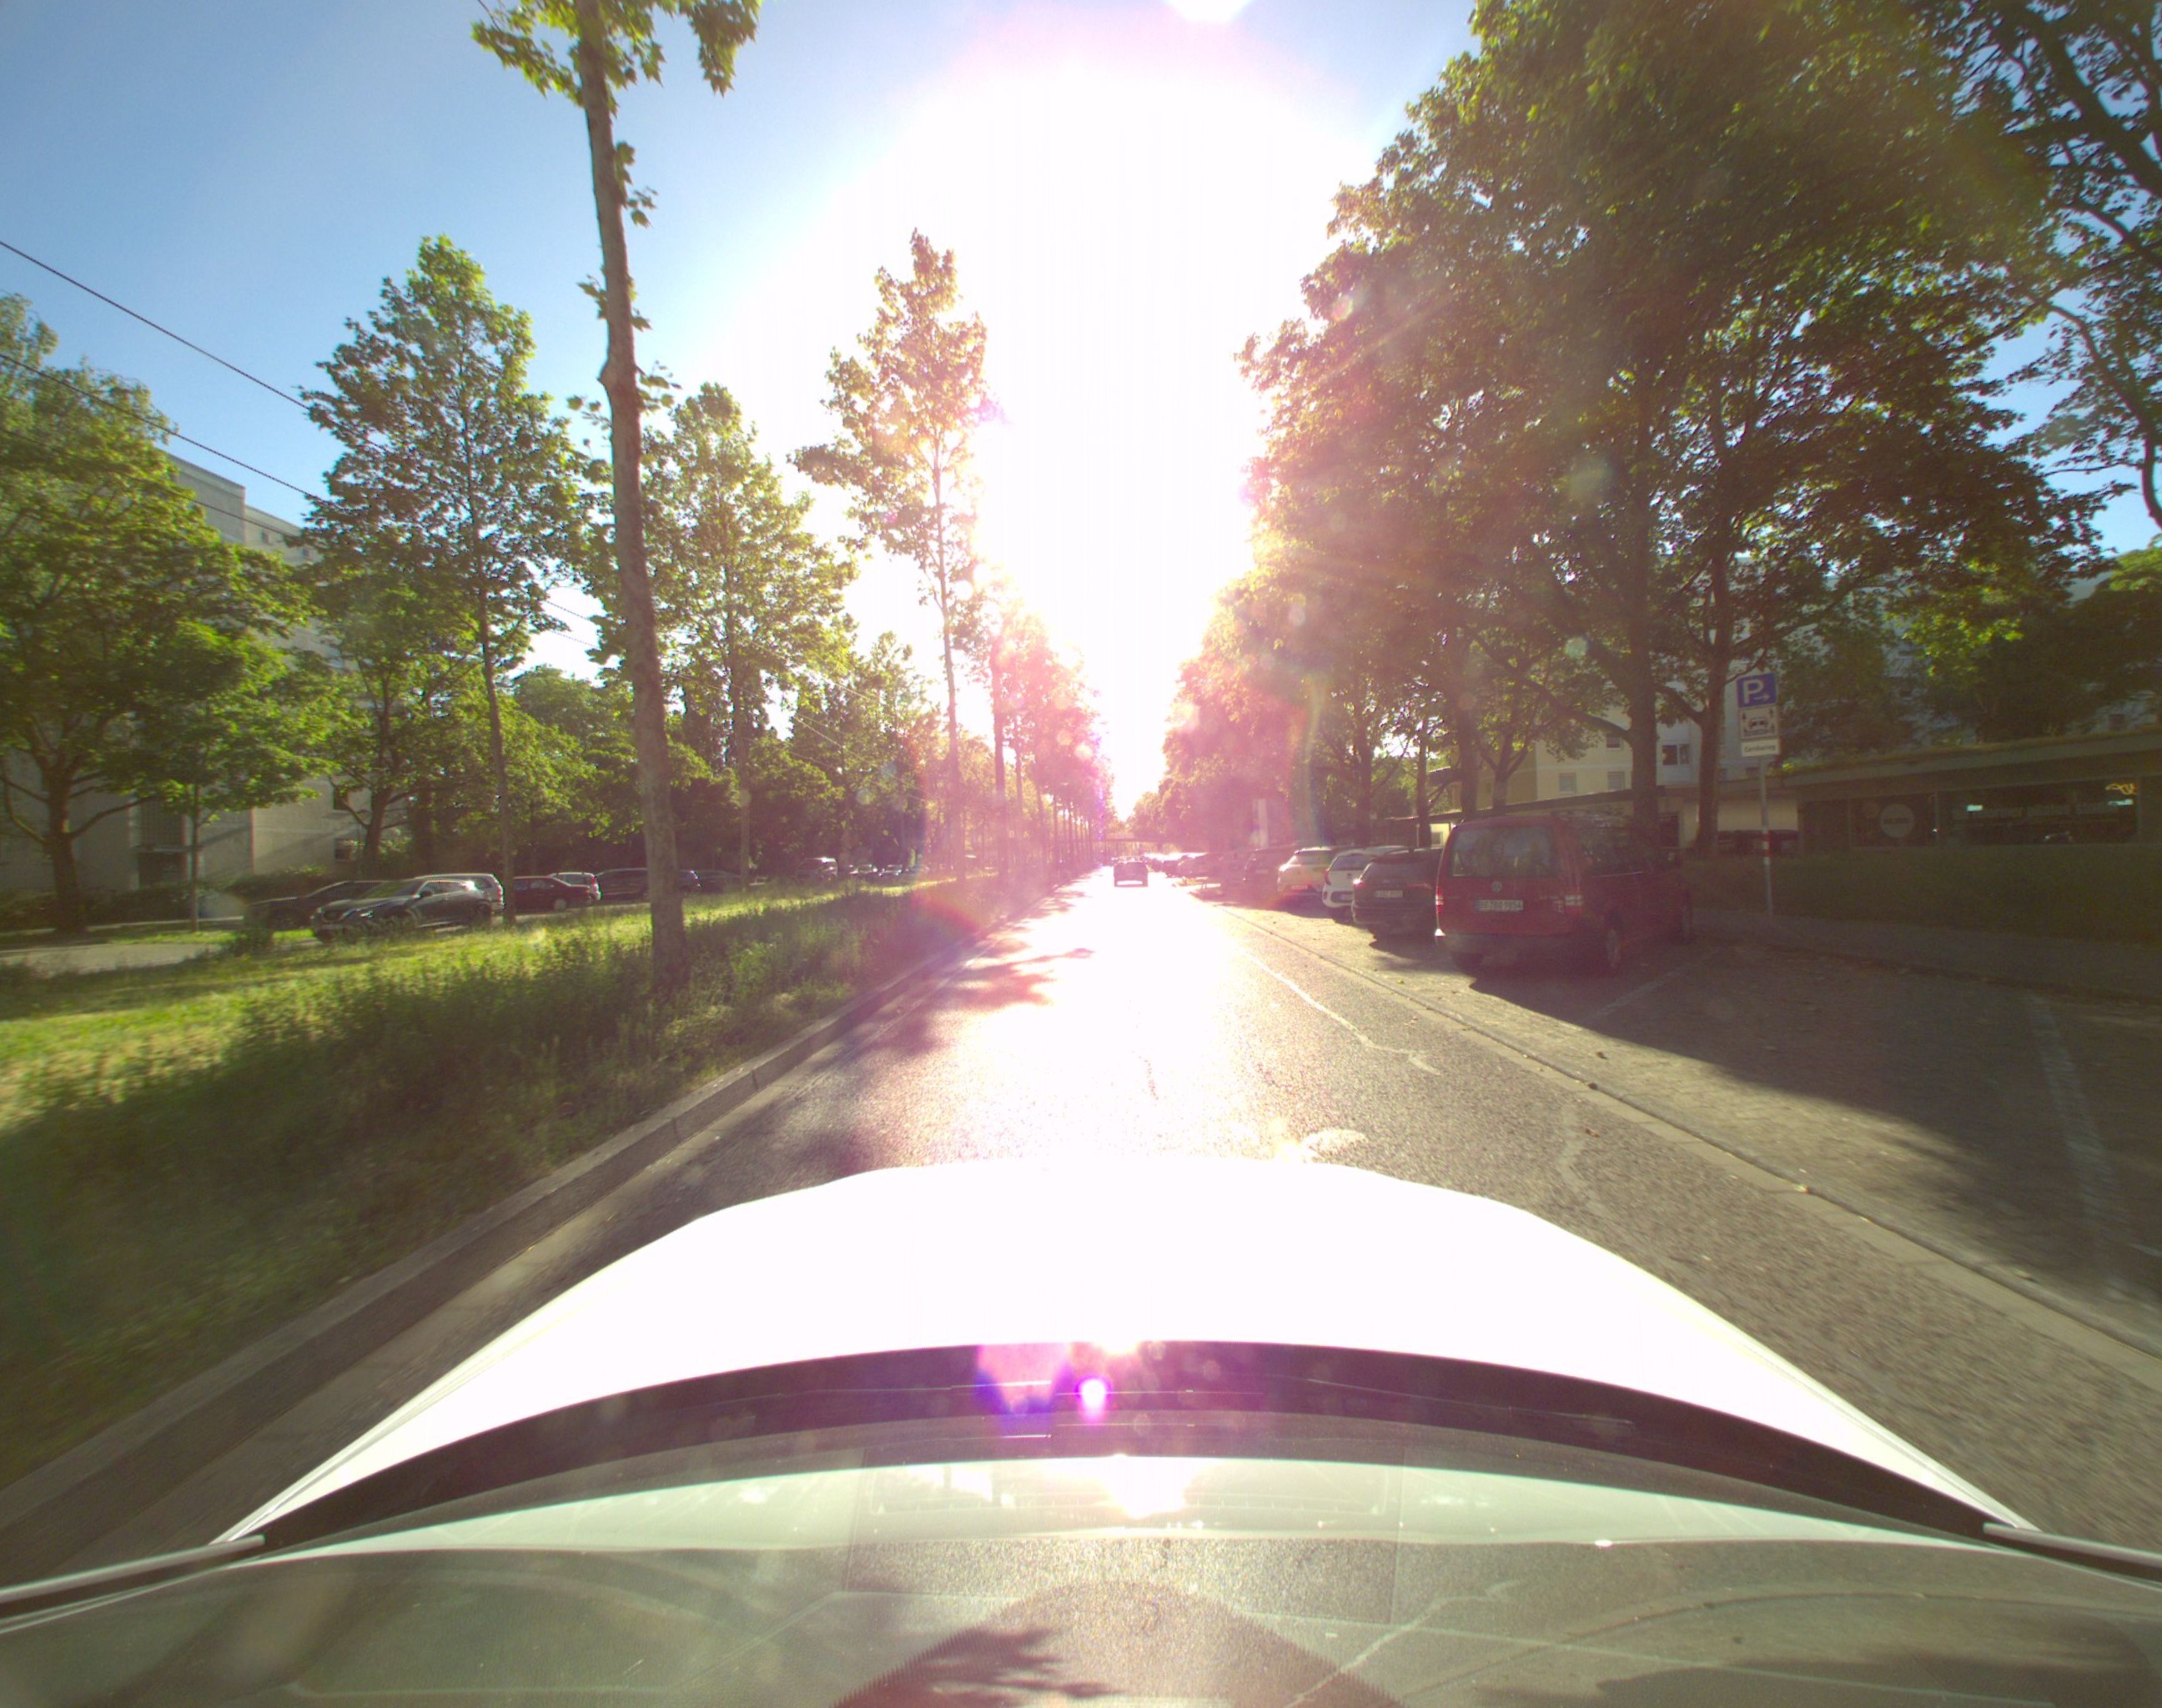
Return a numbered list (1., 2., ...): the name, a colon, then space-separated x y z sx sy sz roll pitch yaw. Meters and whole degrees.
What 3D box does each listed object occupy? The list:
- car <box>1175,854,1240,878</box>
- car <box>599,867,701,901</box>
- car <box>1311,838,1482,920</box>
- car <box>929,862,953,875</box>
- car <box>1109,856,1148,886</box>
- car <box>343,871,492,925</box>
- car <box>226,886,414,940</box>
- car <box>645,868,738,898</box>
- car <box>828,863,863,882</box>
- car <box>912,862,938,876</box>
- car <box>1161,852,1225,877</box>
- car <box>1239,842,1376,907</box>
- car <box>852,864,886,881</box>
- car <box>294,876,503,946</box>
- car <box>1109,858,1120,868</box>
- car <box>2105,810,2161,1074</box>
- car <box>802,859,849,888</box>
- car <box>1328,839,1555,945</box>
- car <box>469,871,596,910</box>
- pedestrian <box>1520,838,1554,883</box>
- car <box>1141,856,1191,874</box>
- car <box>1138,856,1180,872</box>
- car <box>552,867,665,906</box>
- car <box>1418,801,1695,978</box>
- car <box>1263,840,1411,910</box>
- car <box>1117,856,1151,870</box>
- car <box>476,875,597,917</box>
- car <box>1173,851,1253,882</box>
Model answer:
1. car: 8.129 0.728 52.045 4.353 1.297 1.671 -3 0 -42
2. car: -22.956 1.564 43.494 4.511 1.568 1.774 -2 -1 -41
3. car: 7.078 0.482 18.099 4.107 1.582 1.760 -2 0 -41
4. car: -17.628 1.844 102.718 1.985 1.590 4.172 1 0 4
5. car: 2.455 0.860 42.443 1.914 1.411 4.003 -1 0 3
6. car: -23.681 1.531 29.172 4.000 1.675 1.766 -2 -1 -41
7. car: -23.553 1.778 25.394 4.155 1.337 1.773 -2 0 -44
8. car: -22.561 1.655 47.265 4.511 1.568 1.774 -2 -1 -41
9. car: -19.640 1.511 68.009 1.638 1.453 3.667 1 0 4
10. car: -18.278 1.737 95.492 1.985 1.453 4.004 1 0 4
11. car: 7.589 0.693 54.946 4.353 1.424 1.834 -3 0 -42
12. car: 6.837 0.556 24.364 4.341 1.717 1.617 -2 0 -37
13. car: -18.978 1.605 72.878 1.864 1.453 3.578 1 0 4
14. car: -17.763 1.419 21.493 1.916 1.506 4.088 -2 0 2
15. car: 5.469 1.425 133.324 1.842 1.535 3.868 -2 0 2
16. car: 6.105 0.479 3.527 3.649 1.448 1.631 -3 -1 -45
17. car: -19.377 1.443 61.971 1.638 2.093 4.919 1 0 4
18. car: 6.321 0.573 14.132 4.102 1.481 1.633 -3 0 -34
19. car: -24.041 1.556 35.821 4.505 1.481 1.600 -2 -1 -35
20. pedestrian: 19.869 0.295 35.497 0.871 1.914 0.869 -2 -1 -7
21. car: 7.685 0.960 73.678 4.651 1.459 1.955 -2 -1 -44
22. car: 8.597 1.135 89.152 4.648 1.680 1.835 0 -1 -41
23. car: -23.042 1.553 39.787 4.511 1.675 1.774 -2 -1 -41
24. car: 6.105 0.316 10.254 4.106 1.811 1.632 -3 -1 -40
25. car: 6.814 0.506 21.463 4.107 1.582 1.760 -3 0 -41
26. car: 7.345 1.225 112.125 4.648 1.769 1.835 0 -1 -41
27. car: -22.351 1.682 33.501 3.942 1.487 1.774 -2 -1 -41
28. car: 7.270 0.667 44.601 4.519 1.443 1.834 -3 0 -42
